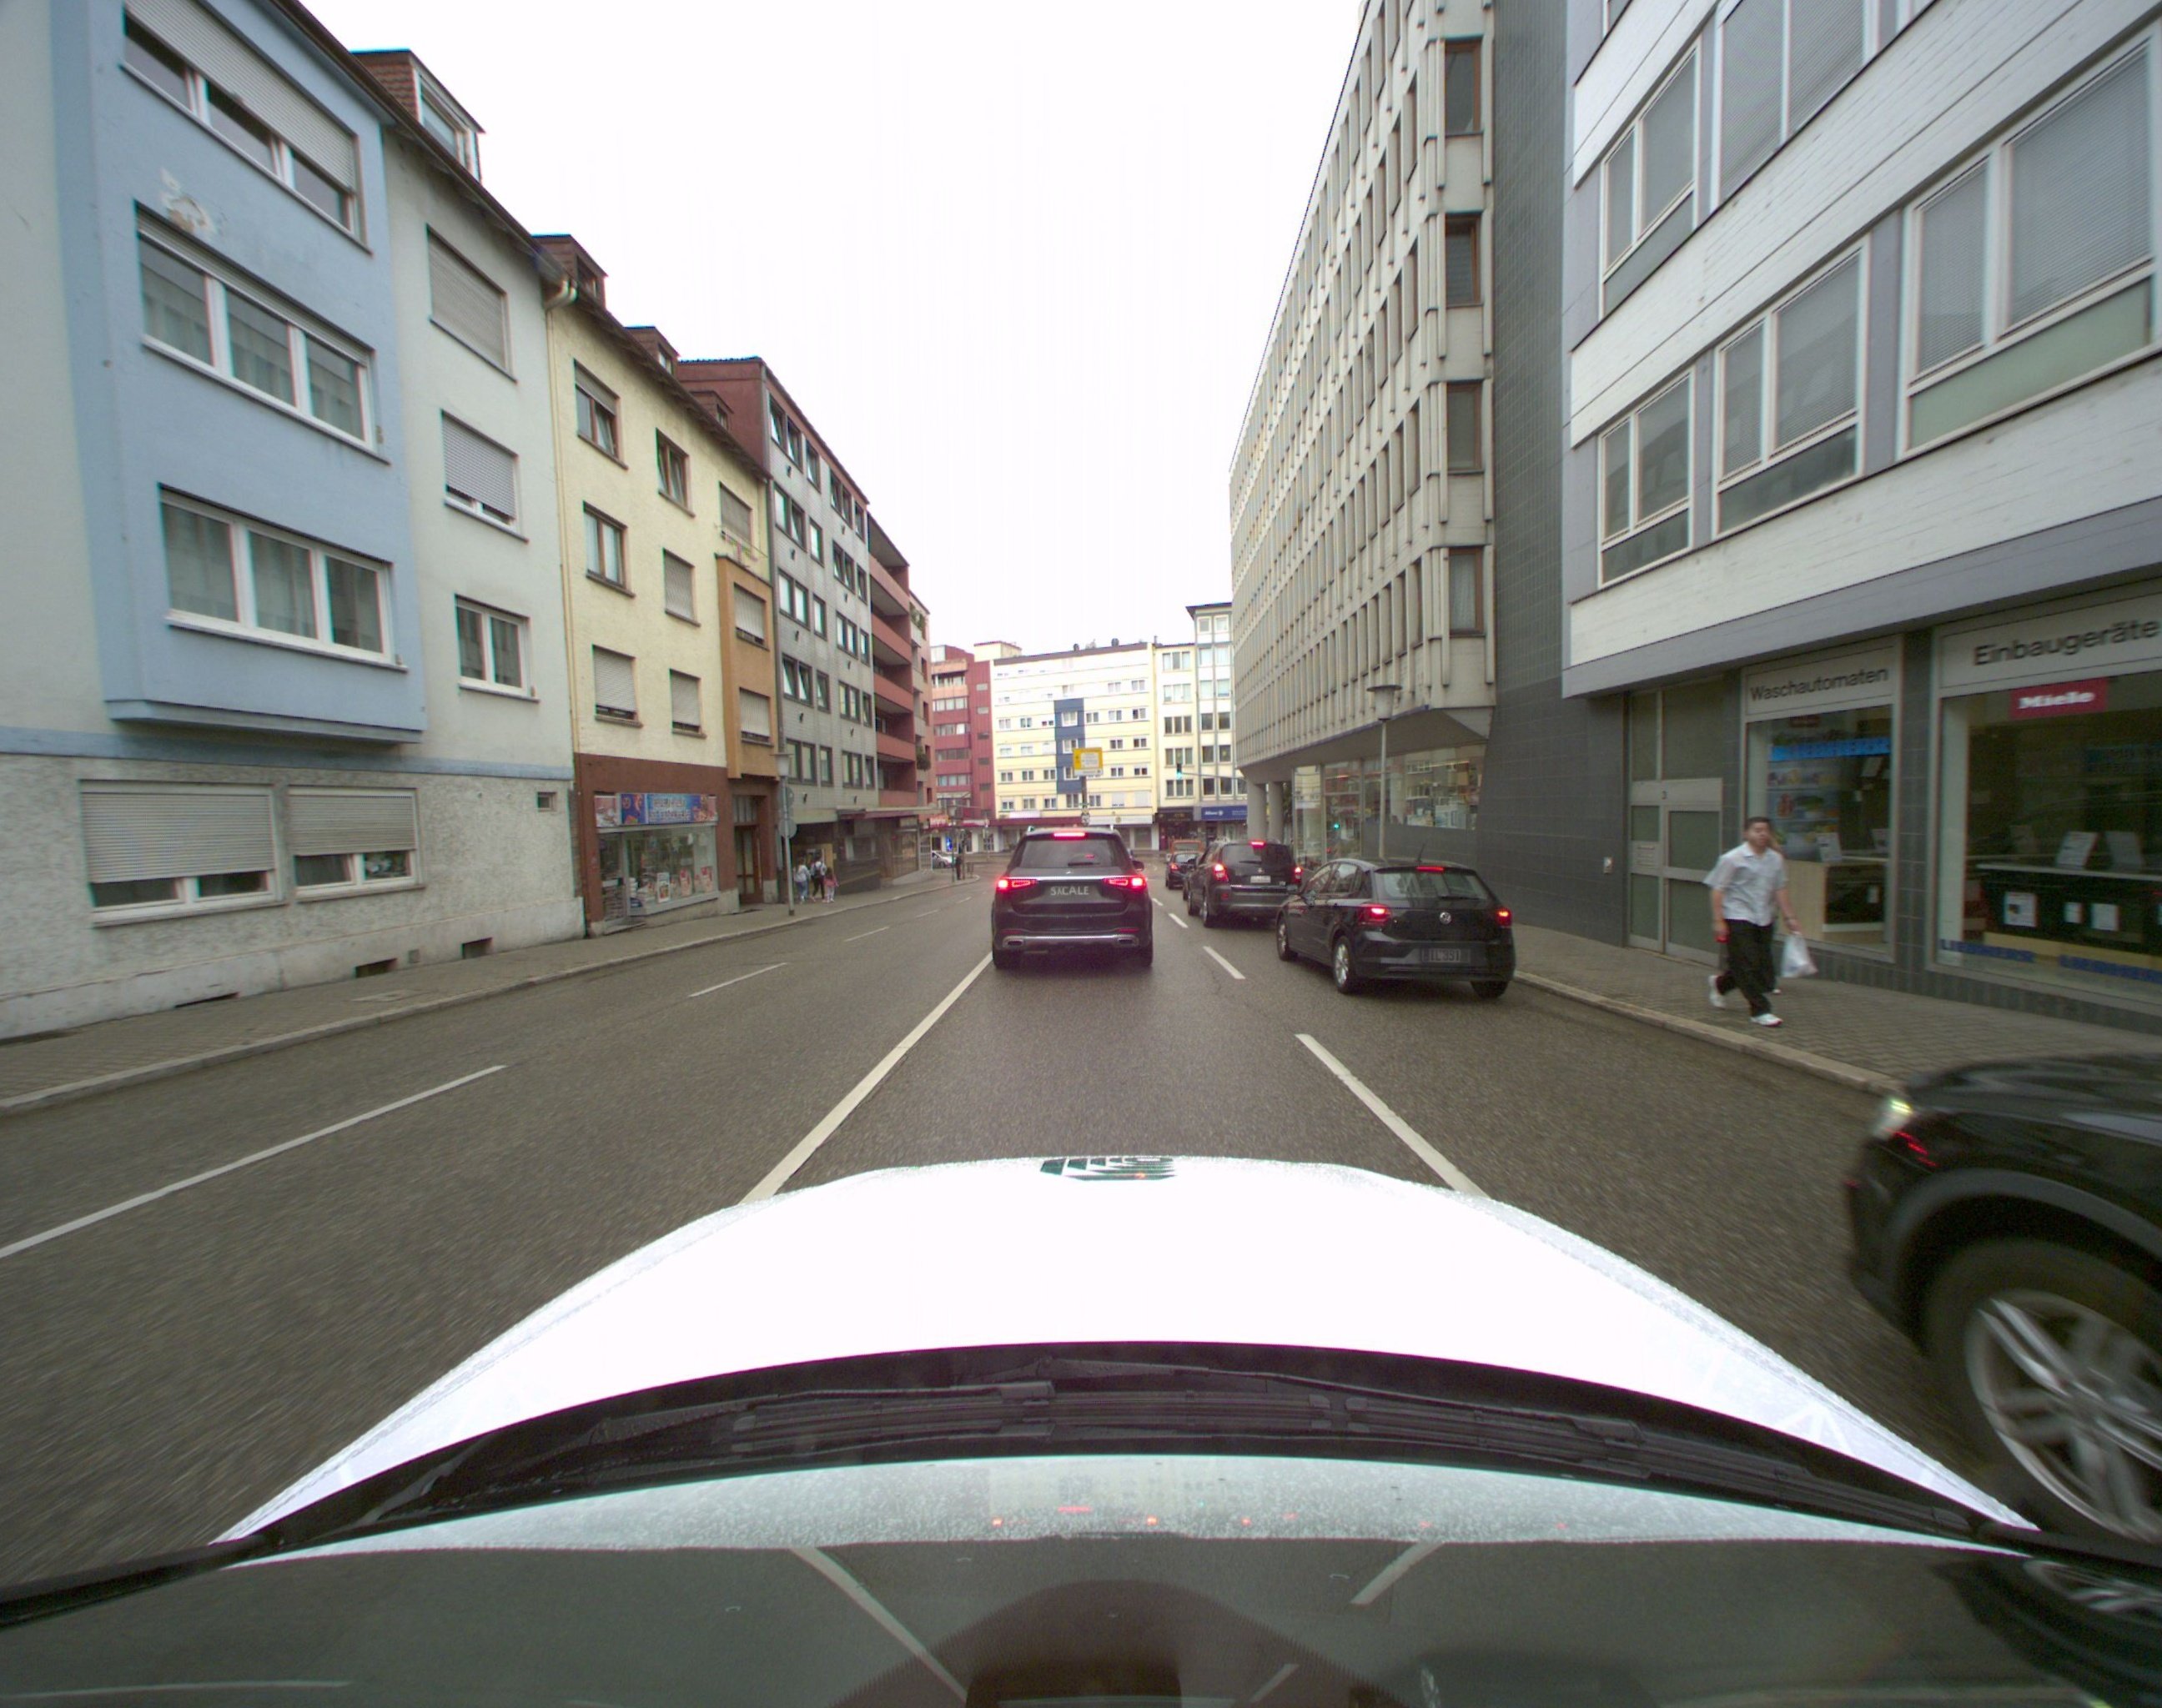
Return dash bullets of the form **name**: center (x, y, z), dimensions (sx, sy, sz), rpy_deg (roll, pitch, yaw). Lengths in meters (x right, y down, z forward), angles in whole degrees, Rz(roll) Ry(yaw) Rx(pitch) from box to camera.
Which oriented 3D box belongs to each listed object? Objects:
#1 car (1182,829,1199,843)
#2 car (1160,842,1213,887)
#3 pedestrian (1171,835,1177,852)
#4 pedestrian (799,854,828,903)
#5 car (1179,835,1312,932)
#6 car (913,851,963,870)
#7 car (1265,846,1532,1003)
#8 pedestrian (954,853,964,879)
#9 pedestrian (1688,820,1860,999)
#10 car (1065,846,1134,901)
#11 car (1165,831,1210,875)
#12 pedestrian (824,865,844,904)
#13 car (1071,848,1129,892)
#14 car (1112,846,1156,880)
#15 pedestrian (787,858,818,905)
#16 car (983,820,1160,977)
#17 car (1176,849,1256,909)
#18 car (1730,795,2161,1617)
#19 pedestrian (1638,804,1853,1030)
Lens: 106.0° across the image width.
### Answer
- **car**: center (13.192, -2.151, 97.762), dimensions (1.786, 1.670, 4.012), rpy_deg (-2, 0, 11)
- **car**: center (4.119, 0.418, 32.374), dimensions (1.815, 1.658, 4.499), rpy_deg (0, 0, 4)
- **pedestrian**: center (9.706, -1.114, 85.230), dimensions (0.561, 1.688, 0.758), rpy_deg (-2, 6, 8)
- **pedestrian**: center (-9.418, 0.846, 28.736), dimensions (0.826, 1.689, 0.722), rpy_deg (0, 0, -7)
- **car**: center (3.219, 0.517, 16.885), dimensions (1.891, 1.695, 4.506), rpy_deg (1, 0, 1)
- **car**: center (-12.955, 0.574, 73.780), dimensions (4.129, 1.592, 1.748), rpy_deg (0, 1, 17)
- **car**: center (3.525, 0.664, 9.878), dimensions (1.683, 1.477, 4.000), rpy_deg (1, 0, 0)
- **pedestrian**: center (-7.973, 0.778, 53.179), dimensions (0.552, 1.697, 0.623), rpy_deg (-2, 0, -2)
- **pedestrian**: center (6.549, 0.492, 7.750), dimensions (0.763, 1.551, 0.890), rpy_deg (-4, 0, -2)
- **car**: center (0.530, 0.510, 24.361), dimensions (1.867, 1.494, 4.400), rpy_deg (0, 0, 0)
- **car**: center (5.610, -0.050, 43.598), dimensions (2.231, 2.228, 5.437), rpy_deg (0, 0, 6)
- **pedestrian**: center (-8.638, 1.049, 28.455), dimensions (0.533, 1.323, 0.722), rpy_deg (0, 0, -7)
- **car**: center (0.747, 0.544, 30.817), dimensions (1.986, 1.486, 4.239), rpy_deg (-2, 0, 2)
- **car**: center (2.491, 0.450, 39.218), dimensions (1.917, 1.515, 4.664), rpy_deg (1, -1, 2)
- **pedestrian**: center (-9.401, 0.906, 27.535), dimensions (0.826, 1.560, 0.722), rpy_deg (0, 0, -7)
- **car**: center (-0.095, 0.489, 11.730), dimensions (2.032, 1.799, 4.663), rpy_deg (0, 0, 0)
- **car**: center (3.703, 0.636, 22.928), dimensions (1.759, 1.397, 4.004), rpy_deg (4, 1, 4)
- **car**: center (2.950, 0.683, 0.496), dimensions (1.817, 1.560, 4.202), rpy_deg (1, 0, 1)
- **pedestrian**: center (5.570, 0.488, 6.914), dimensions (0.781, 1.705, 1.120), rpy_deg (-4, 0, -2)
